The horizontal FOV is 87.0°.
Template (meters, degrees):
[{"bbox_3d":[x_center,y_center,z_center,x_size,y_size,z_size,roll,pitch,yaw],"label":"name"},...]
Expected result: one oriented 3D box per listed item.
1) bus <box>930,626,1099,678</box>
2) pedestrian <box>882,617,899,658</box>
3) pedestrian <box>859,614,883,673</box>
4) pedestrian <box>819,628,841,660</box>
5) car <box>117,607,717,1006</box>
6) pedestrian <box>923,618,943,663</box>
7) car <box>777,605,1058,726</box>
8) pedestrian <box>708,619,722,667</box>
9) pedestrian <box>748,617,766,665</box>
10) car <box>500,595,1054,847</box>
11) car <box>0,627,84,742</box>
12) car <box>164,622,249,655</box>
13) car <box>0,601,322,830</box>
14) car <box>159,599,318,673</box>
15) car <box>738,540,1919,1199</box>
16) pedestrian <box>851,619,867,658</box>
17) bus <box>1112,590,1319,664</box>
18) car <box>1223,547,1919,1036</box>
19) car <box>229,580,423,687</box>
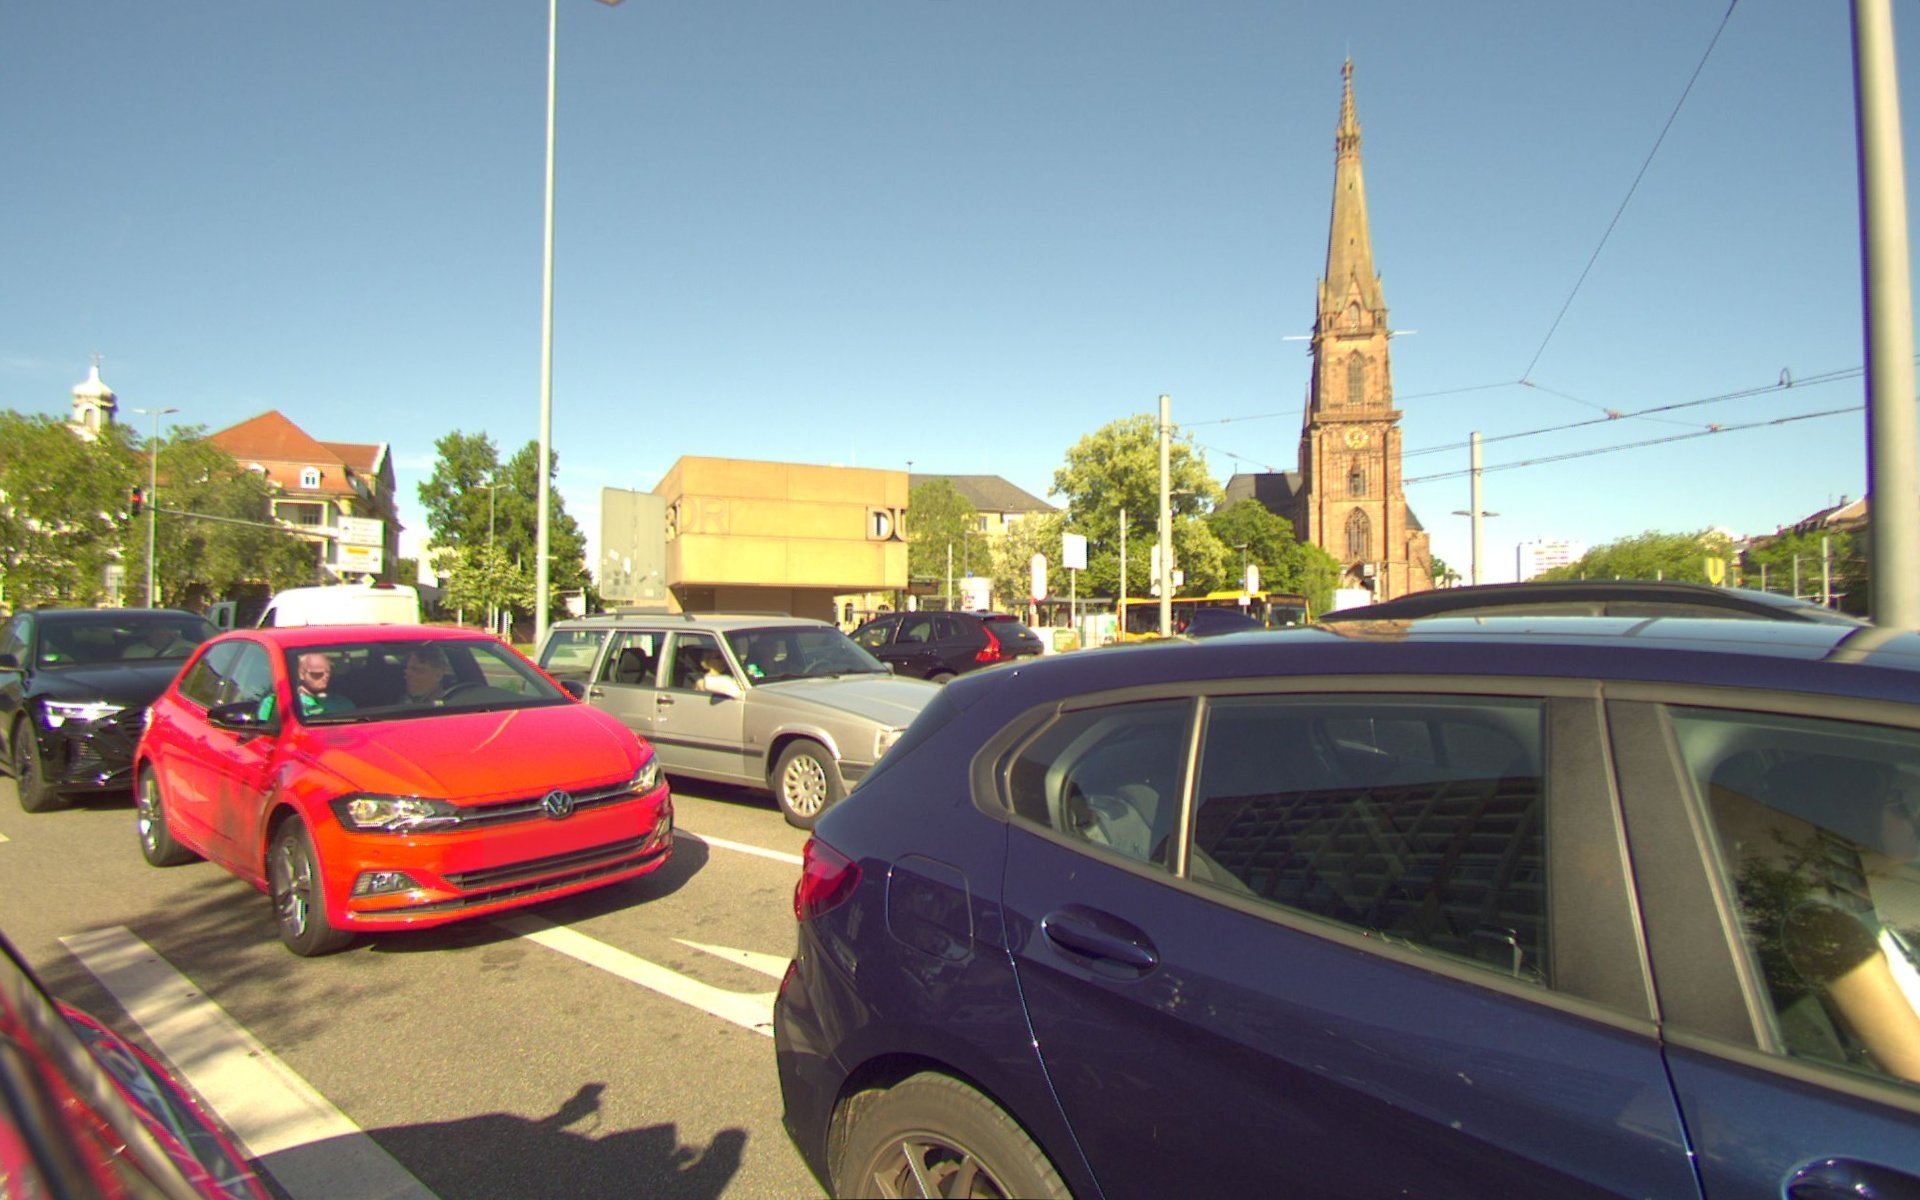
[{"bbox_3d":[1.369,1.302,26.239,4.174,1.251,1.627,-1,-2,35],"label":"bus"},{"bbox_3d":[-3.076,1.653,44.919,0.468,1.789,0.638,-2,-2,36],"label":"pedestrian"},{"bbox_3d":[-2.758,1.334,31.323,0.658,1.802,0.646,-1,-1,1],"label":"pedestrian"},{"bbox_3d":[-5.537,1.878,43.205,0.635,1.320,0.764,1,-2,-40],"label":"pedestrian"},{"bbox_3d":[-3.222,0.817,5.669,3.850,1.484,1.653,-2,-1,40],"label":"car"},{"bbox_3d":[-1.091,1.636,41.047,0.634,1.789,0.470,1,-2,-29],"label":"pedestrian"},{"bbox_3d":[-0.693,0.968,15.803,4.057,1.672,1.851,-1,-2,31],"label":"car"},{"bbox_3d":[-9.323,1.626,38.500,0.460,1.789,0.648,0,-2,-21],"label":"pedestrian"},{"bbox_3d":[-7.705,1.553,38.417,0.635,1.789,0.618,0,-2,-8],"label":"pedestrian"},{"bbox_3d":[-1.710,0.813,8.240,4.746,1.484,1.692,-3,0,38],"label":"car"},{"bbox_3d":[-13.614,1.117,13.867,3.703,1.429,1.557,-1,-1,34],"label":"car"},{"bbox_3d":[-39.528,2.027,53.157,1.511,1.692,3.364,-1,-2,15],"label":"car"},{"bbox_3d":[-7.783,0.884,9.291,4.446,1.628,1.836,-1,-2,38],"label":"car"},{"bbox_3d":[-24.402,1.205,34.152,6.191,2.331,2.095,-1,-2,31],"label":"car"},{"bbox_3d":[1.612,0.668,1.356,4.030,1.456,1.692,-1,-1,42],"label":"car"},{"bbox_3d":[-4.641,1.755,46.499,0.468,1.789,0.638,-2,-2,36],"label":"pedestrian"},{"bbox_3d":[11.630,1.328,48.110,2.715,3.088,12.201,1,-2,-23],"label":"bus"},{"bbox_3d":[3.311,0.614,4.080,4.010,1.529,1.738,-2,-2,44],"label":"car"},{"bbox_3d":[-16.371,0.858,26.064,5.399,2.527,1.979,-1,-2,31],"label":"car"}]
